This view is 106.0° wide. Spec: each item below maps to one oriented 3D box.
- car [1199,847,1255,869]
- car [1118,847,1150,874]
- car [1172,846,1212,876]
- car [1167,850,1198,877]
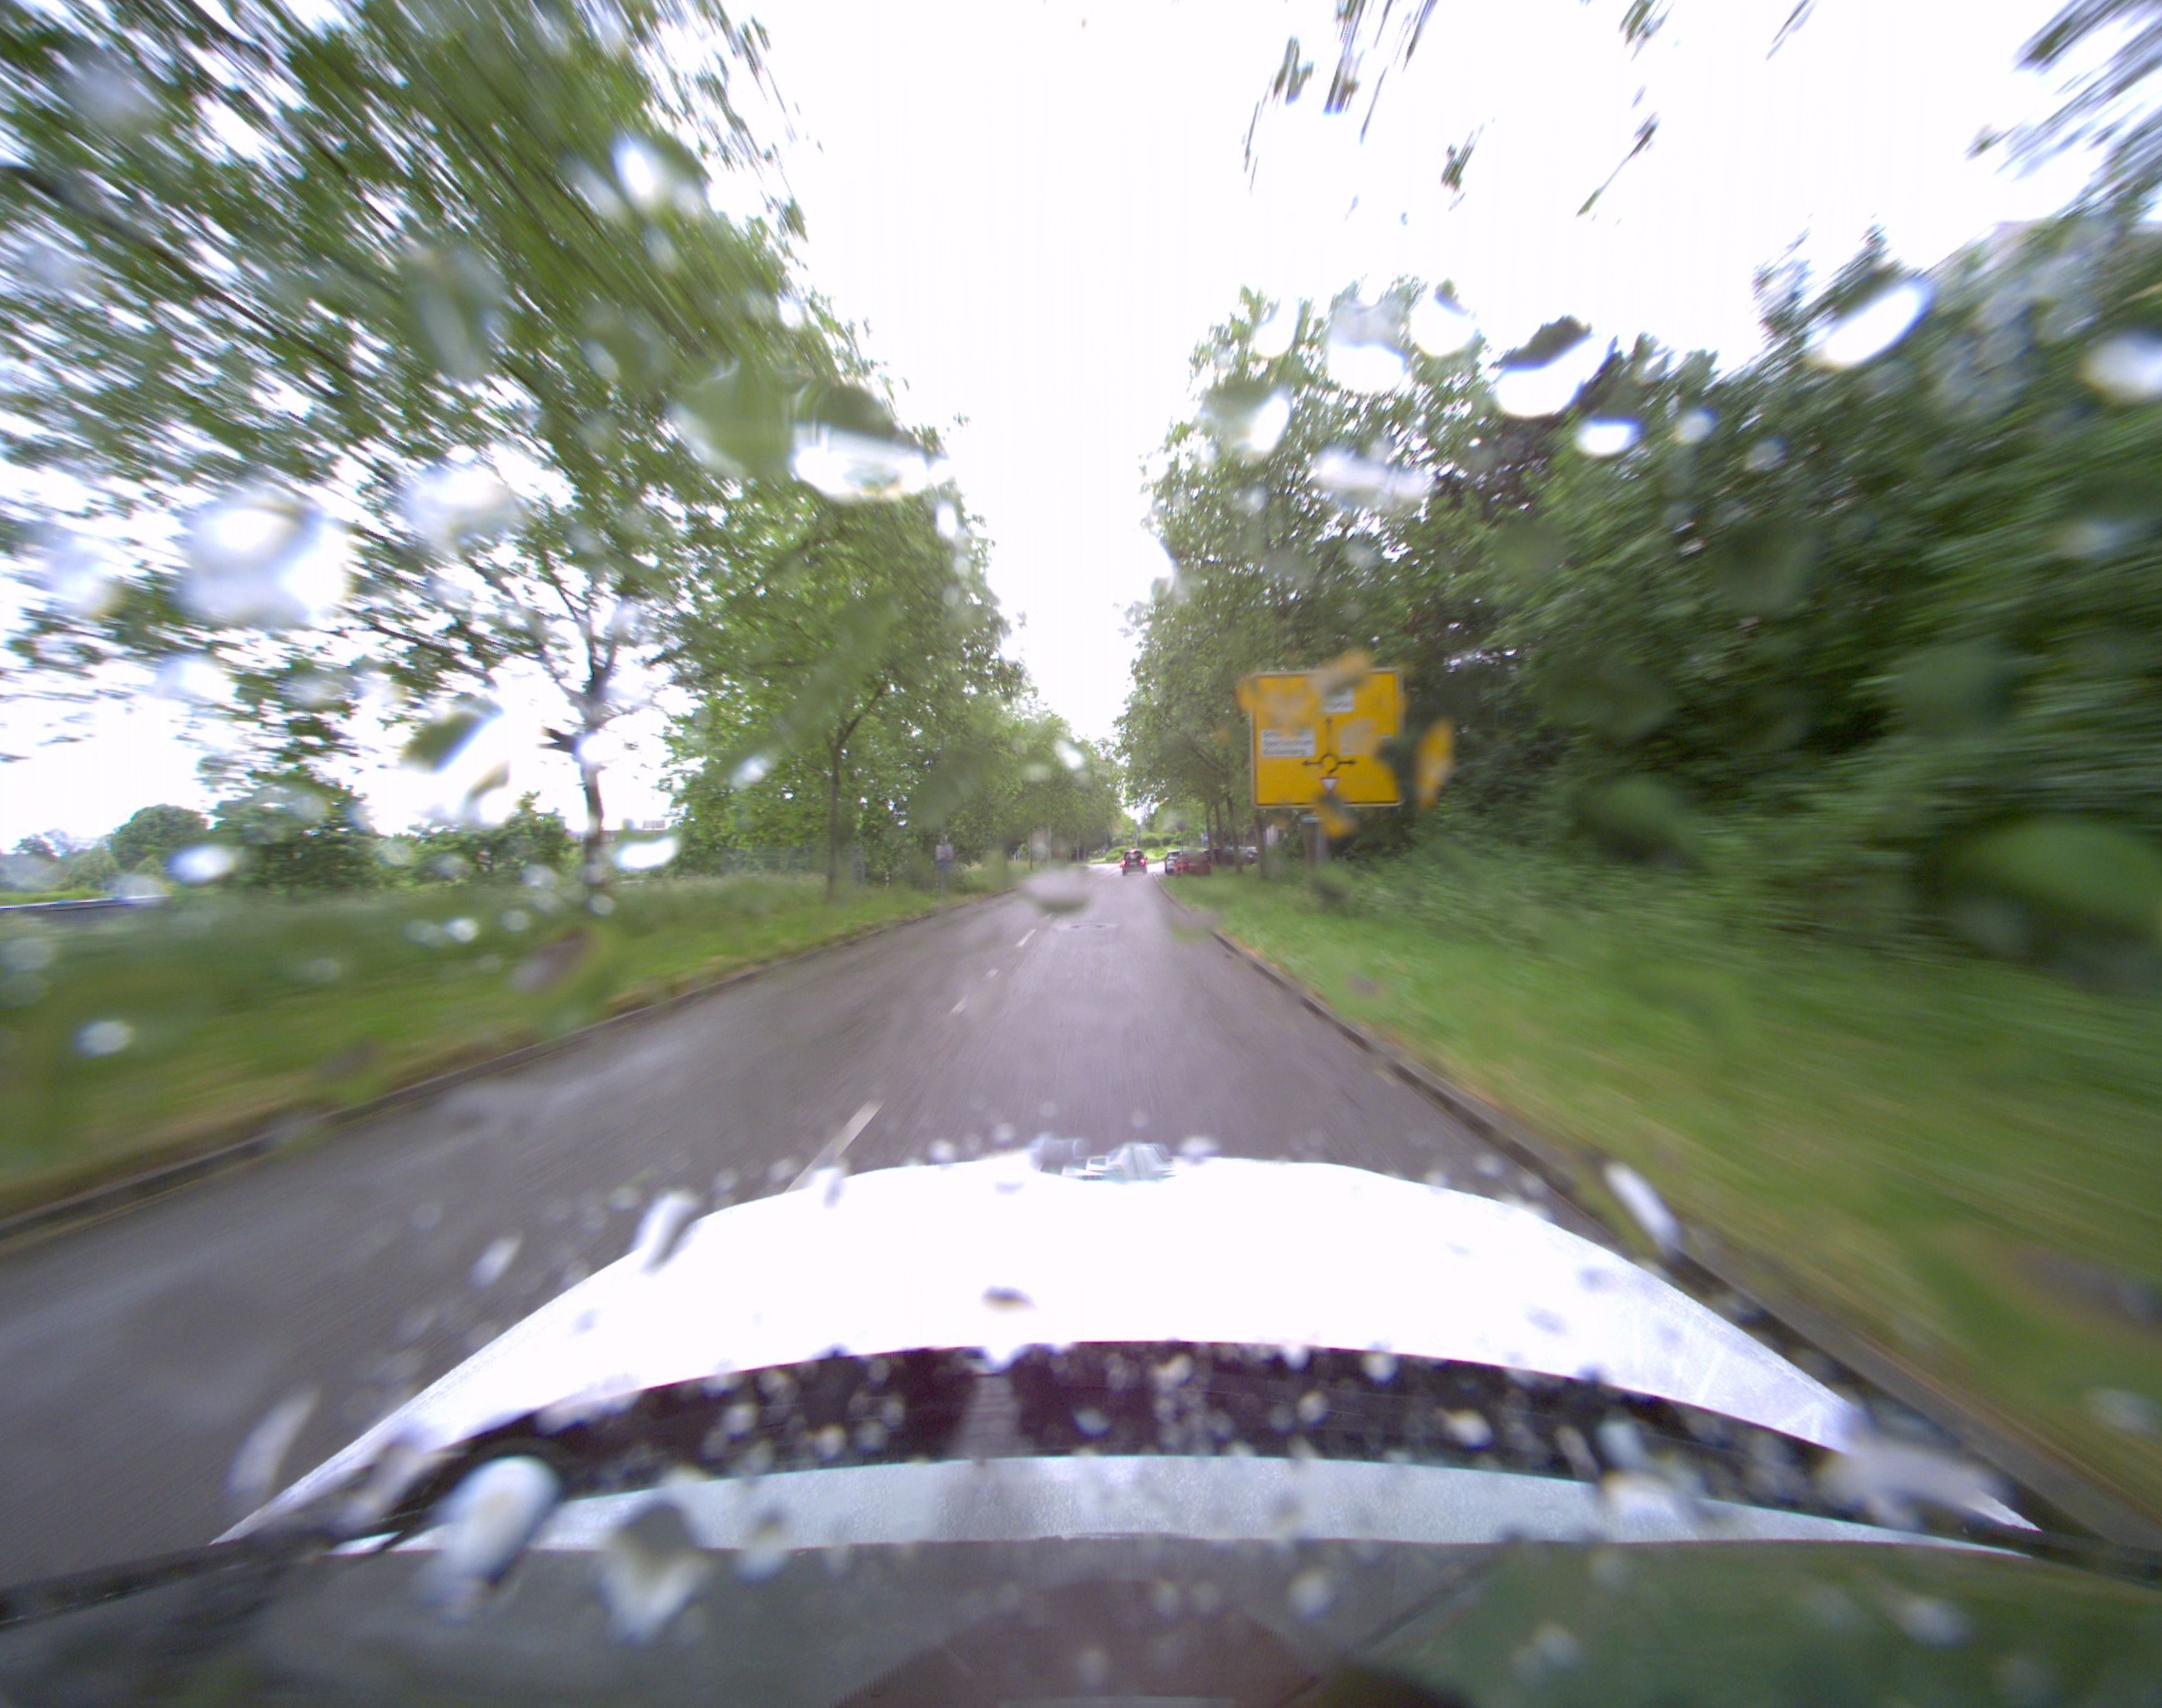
[{"bbox_3d":[12.062,0.326,67.452,4.447,1.680,1.771,-2,1,6],"label":"car"},{"bbox_3d":[4.041,0.473,61.438,1.907,1.801,3.800,-5,0,10],"label":"car"},{"bbox_3d":[5.610,0.348,41.651,1.789,1.372,3.749,-3,0,5],"label":"car"},{"bbox_3d":[6.540,0.623,52.908,1.720,1.591,4.258,-4,0,5],"label":"car"}]
